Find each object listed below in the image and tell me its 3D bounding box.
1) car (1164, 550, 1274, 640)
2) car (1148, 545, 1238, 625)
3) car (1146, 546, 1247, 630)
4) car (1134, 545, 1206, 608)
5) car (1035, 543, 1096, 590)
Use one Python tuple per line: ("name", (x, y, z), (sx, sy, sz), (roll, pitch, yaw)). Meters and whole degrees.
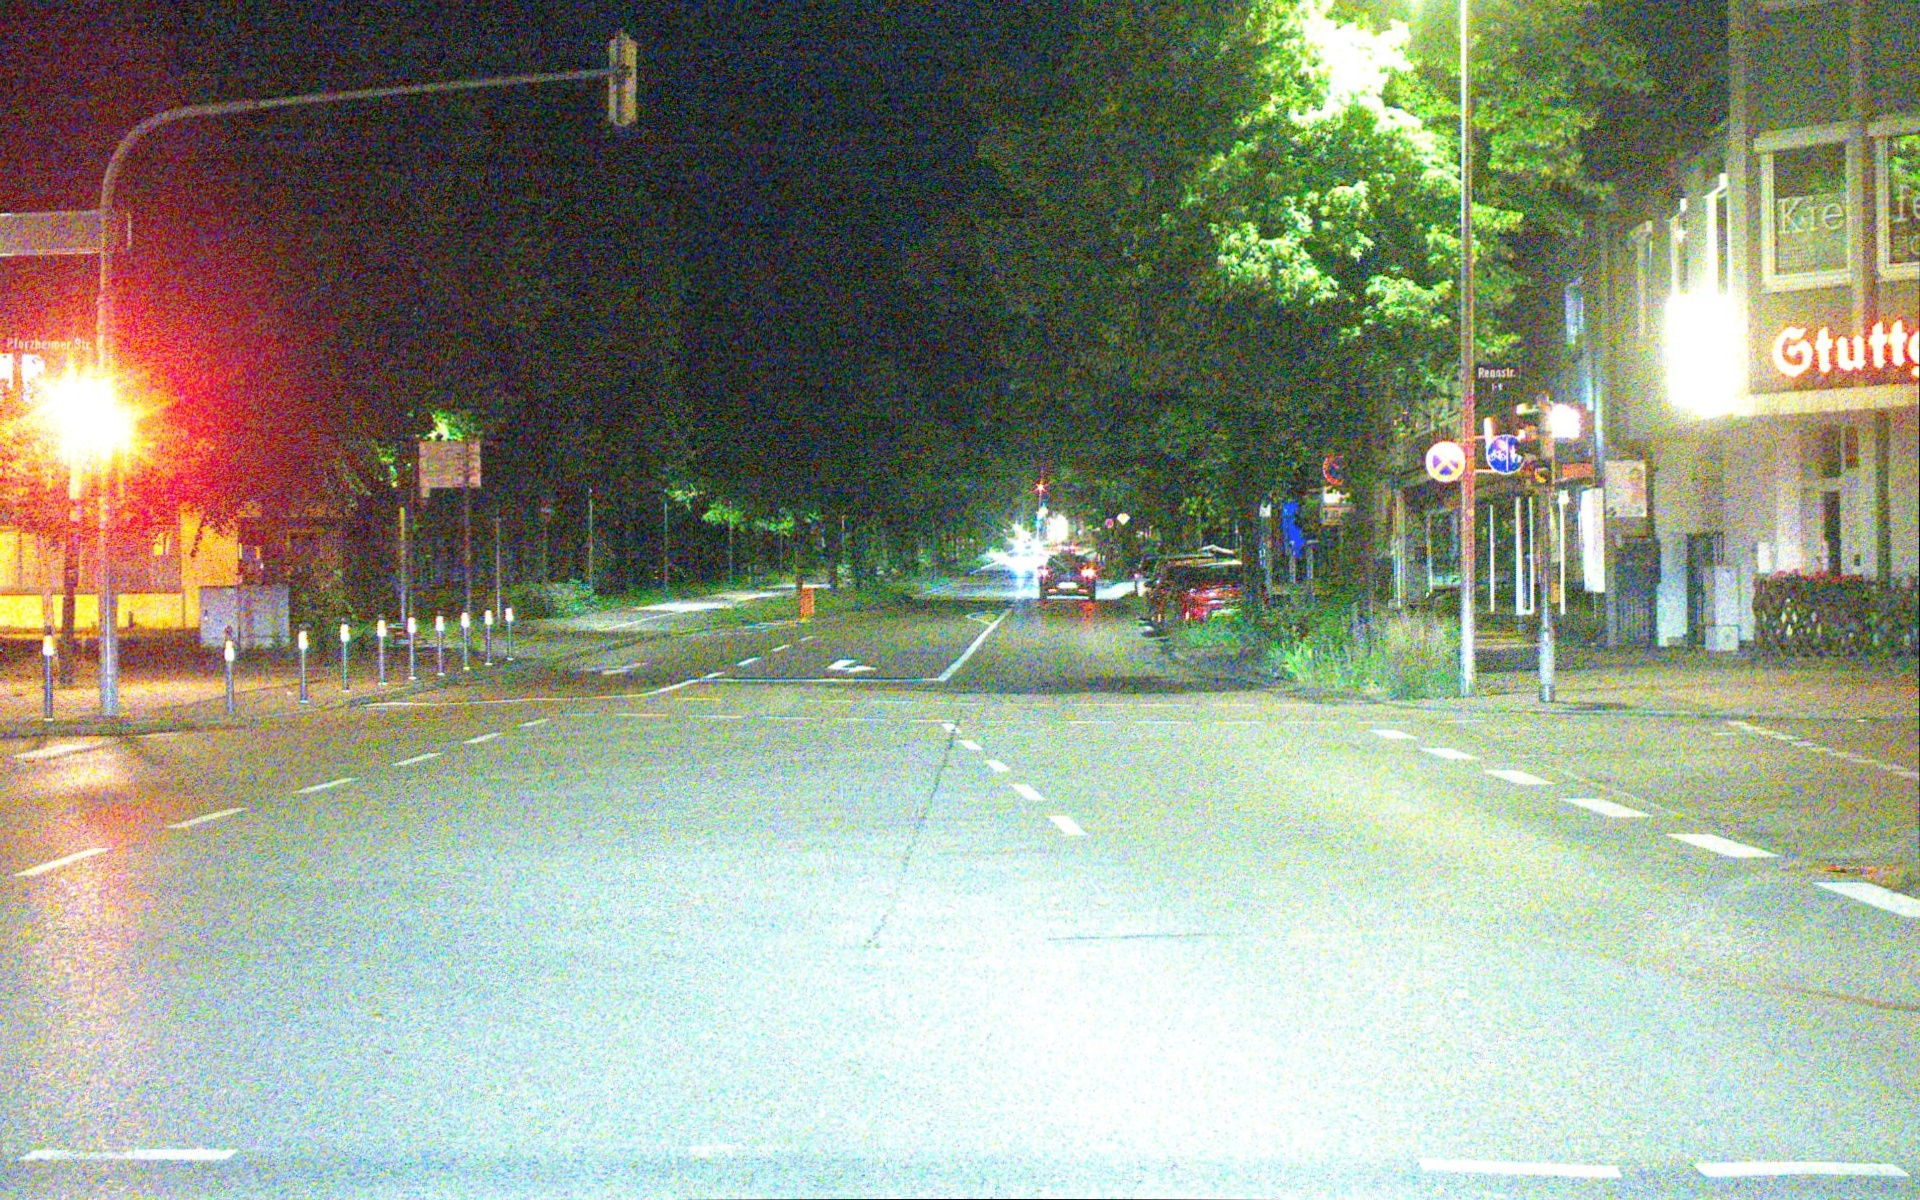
("car", (4.761, -0.113, 63.607), (1.876, 1.610, 4.000), (0, 1, 2))
("car", (5.161, -0.339, 76.465), (1.876, 1.723, 4.000), (0, 1, 2))
("car", (4.702, -0.259, 68.795), (1.876, 1.610, 4.000), (0, 1, 2))
("car", (5.744, -0.643, 94.486), (1.876, 1.678, 4.000), (0, 1, 2))
("car", (3.328, -1.068, 109.114), (1.873, 1.449, 4.316), (1, 1, 1))
